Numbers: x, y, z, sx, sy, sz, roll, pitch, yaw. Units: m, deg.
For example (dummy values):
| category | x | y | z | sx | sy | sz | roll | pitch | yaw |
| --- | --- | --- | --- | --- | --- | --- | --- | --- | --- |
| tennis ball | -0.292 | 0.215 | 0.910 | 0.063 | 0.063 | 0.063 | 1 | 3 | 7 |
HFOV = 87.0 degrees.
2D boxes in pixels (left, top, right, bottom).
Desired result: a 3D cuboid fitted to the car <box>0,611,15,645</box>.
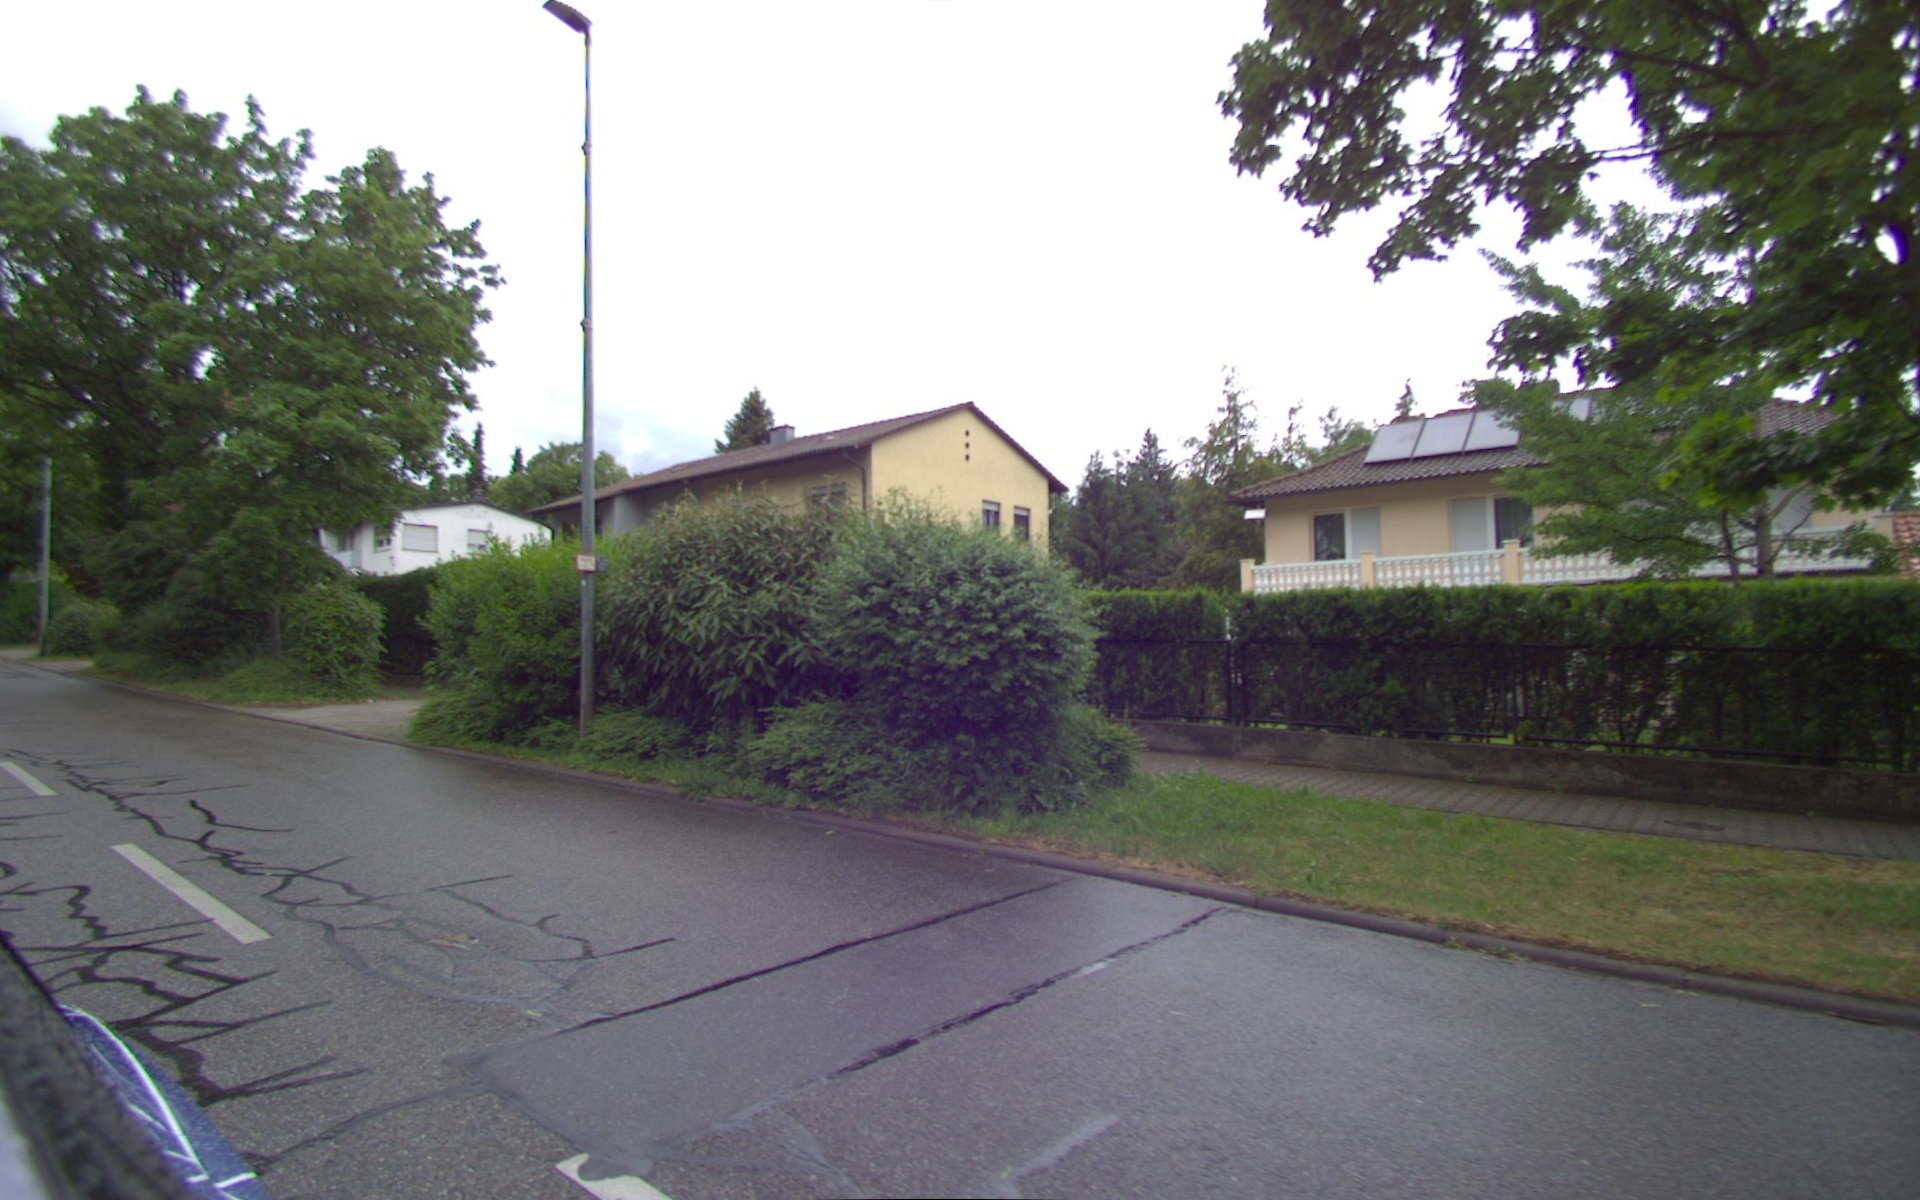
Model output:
| category | x | y | z | sx | sy | sz | roll | pitch | yaw |
| --- | --- | --- | --- | --- | --- | --- | --- | --- | --- |
| car | -46.540 | 1.309 | 48.092 | 4.277 | 1.554 | 1.648 | 0 | 1 | 37 |
